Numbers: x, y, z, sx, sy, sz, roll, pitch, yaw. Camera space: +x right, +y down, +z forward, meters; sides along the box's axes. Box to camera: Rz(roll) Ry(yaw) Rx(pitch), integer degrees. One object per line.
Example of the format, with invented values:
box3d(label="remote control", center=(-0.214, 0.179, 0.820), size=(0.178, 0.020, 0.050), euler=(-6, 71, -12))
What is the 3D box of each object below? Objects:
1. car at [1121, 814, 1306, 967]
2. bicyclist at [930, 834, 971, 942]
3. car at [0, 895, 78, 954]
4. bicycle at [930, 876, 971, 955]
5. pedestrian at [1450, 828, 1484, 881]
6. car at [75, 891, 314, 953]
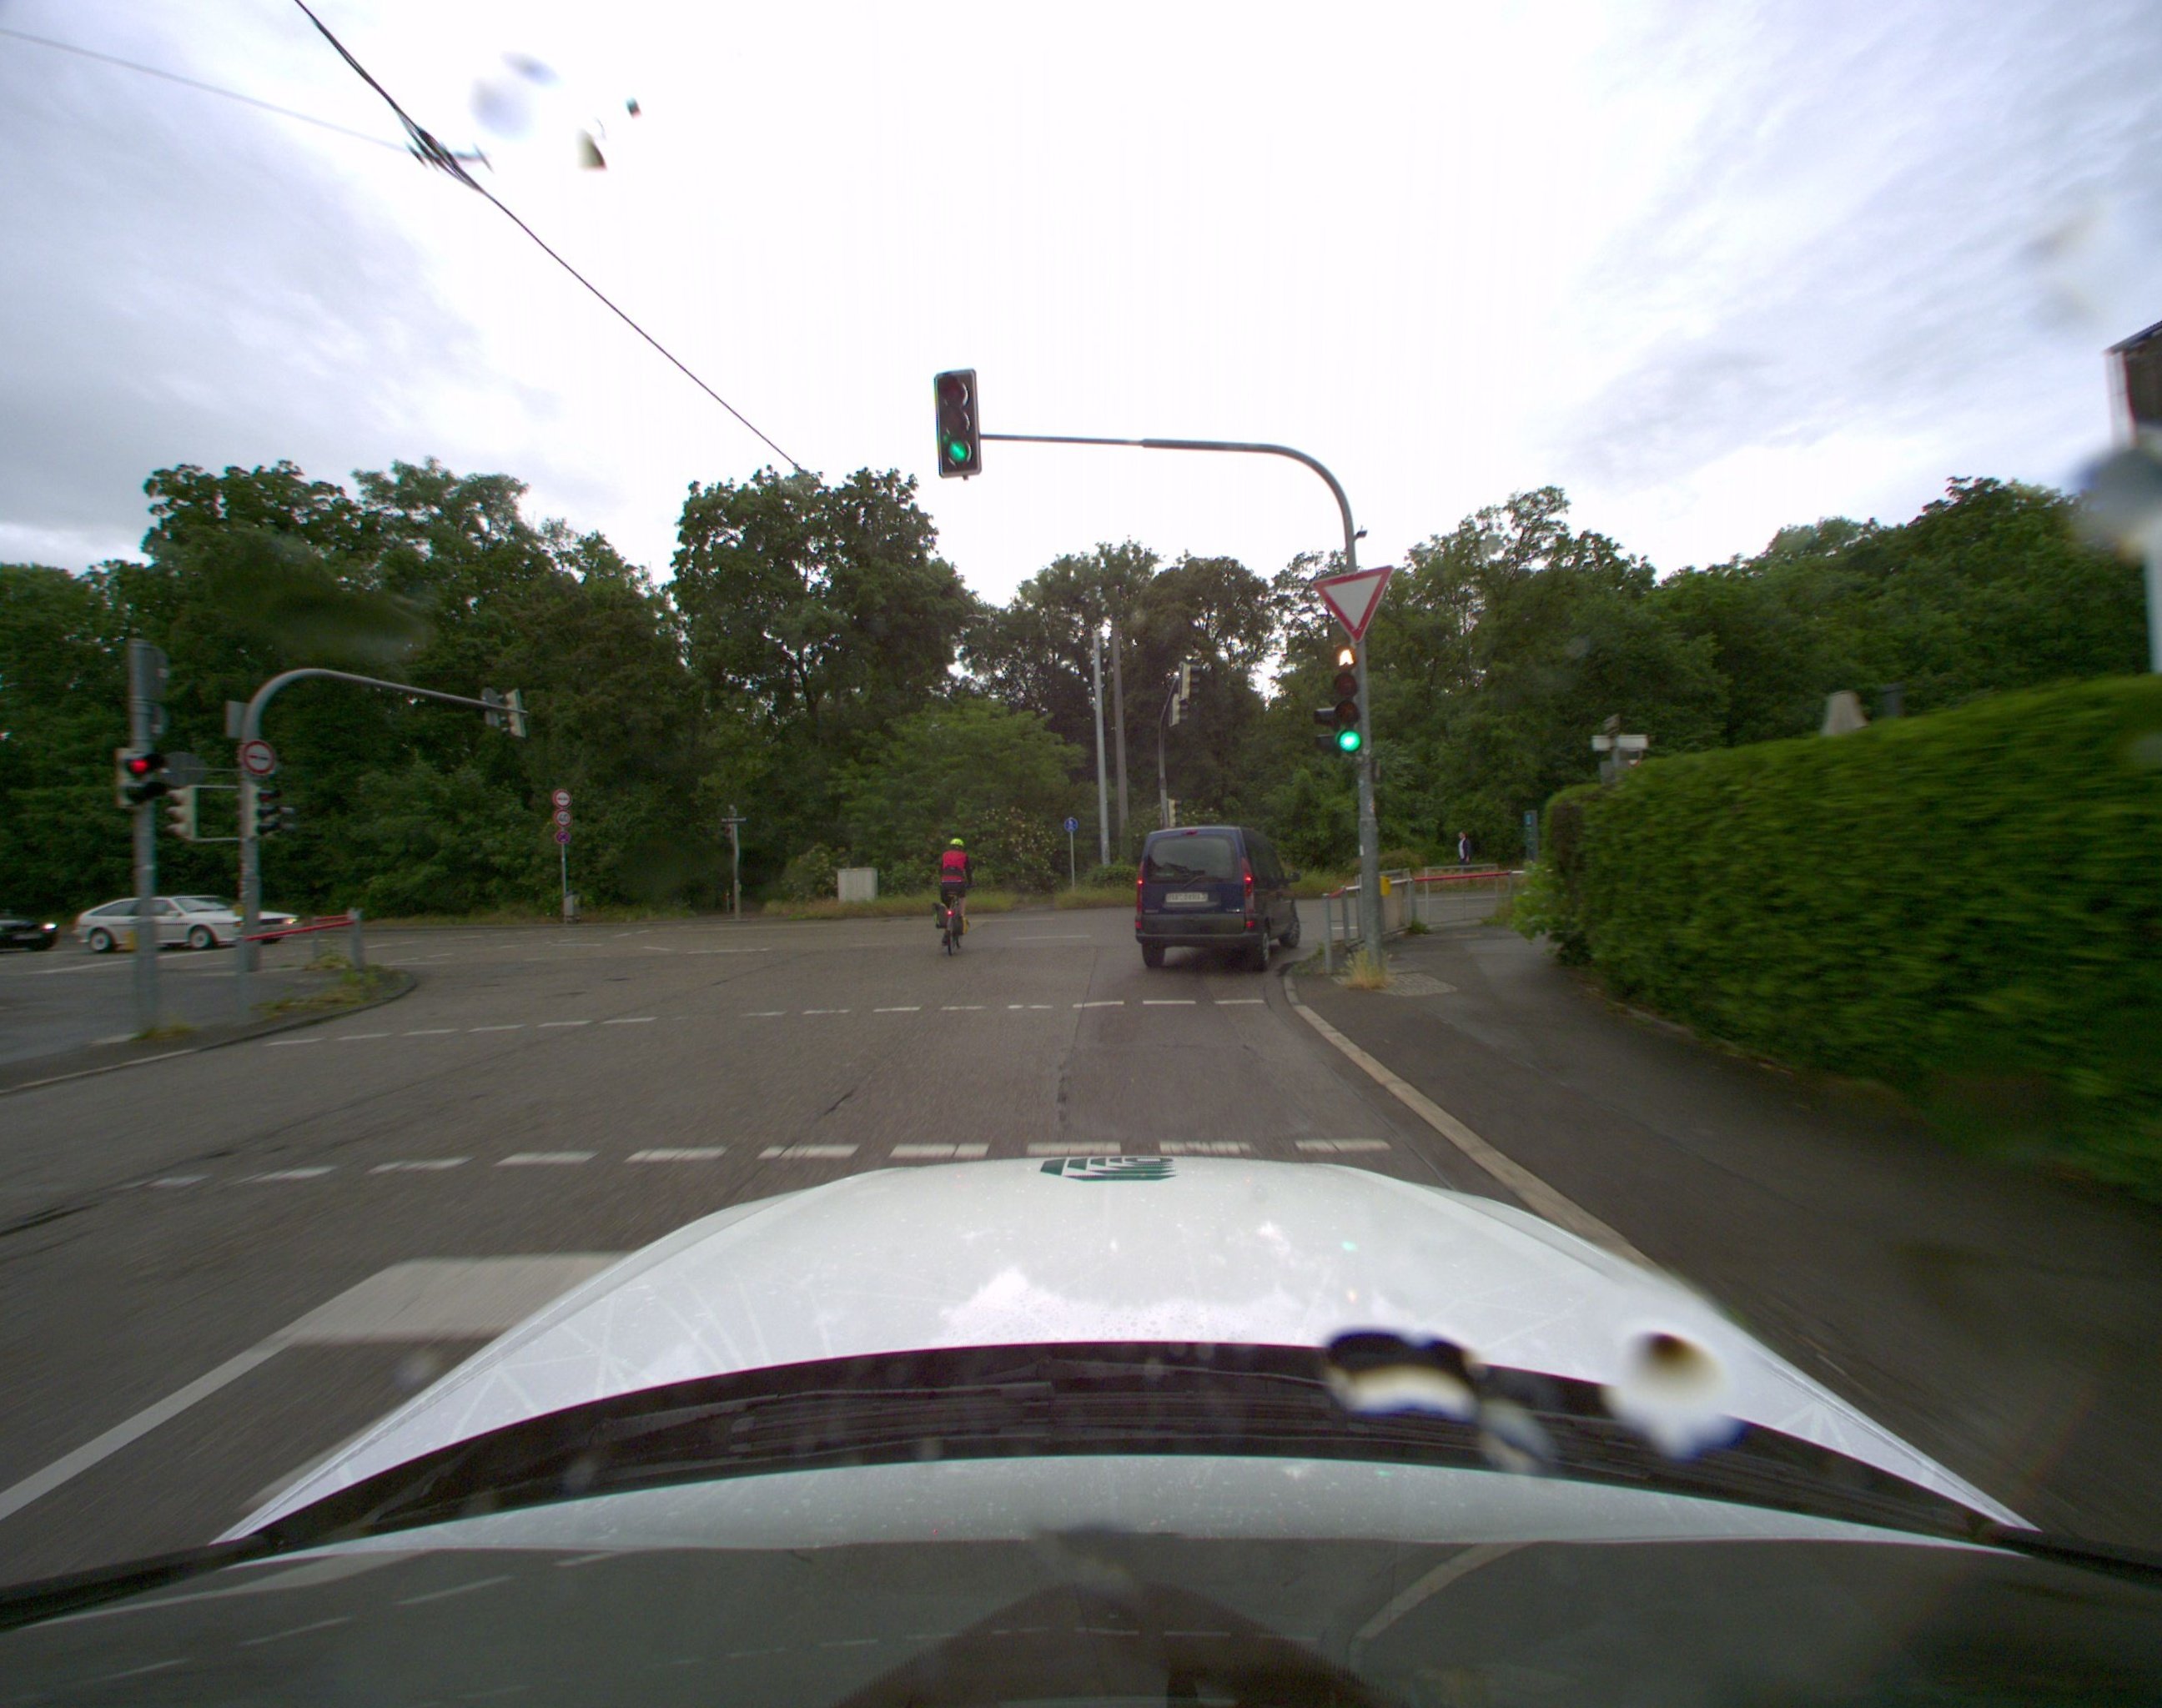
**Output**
box3d(label="car", center=(2.091, 0.456, 11.775), size=(1.793, 1.797, 4.021), euler=(-3, -1, 21))
box3d(label="bicyclist", center=(-2.104, 0.524, 13.190), size=(0.578, 1.652, 1.045), euler=(-2, 0, -8))
box3d(label="car", center=(-27.913, 1.759, 20.187), size=(3.970, 1.354, 1.827), euler=(-1, -1, 3))
box3d(label="bicycle", center=(-2.105, 0.956, 13.314), size=(0.578, 1.096, 2.148), euler=(-2, 0, -8))
box3d(label="pedestrian", center=(13.504, 0.017, 28.507), size=(0.758, 1.800, 0.779), euler=(-2, -1, 2))
box3d(label="car", center=(-21.666, 1.636, 20.019), size=(3.970, 1.354, 1.827), euler=(-1, -1, 3))
